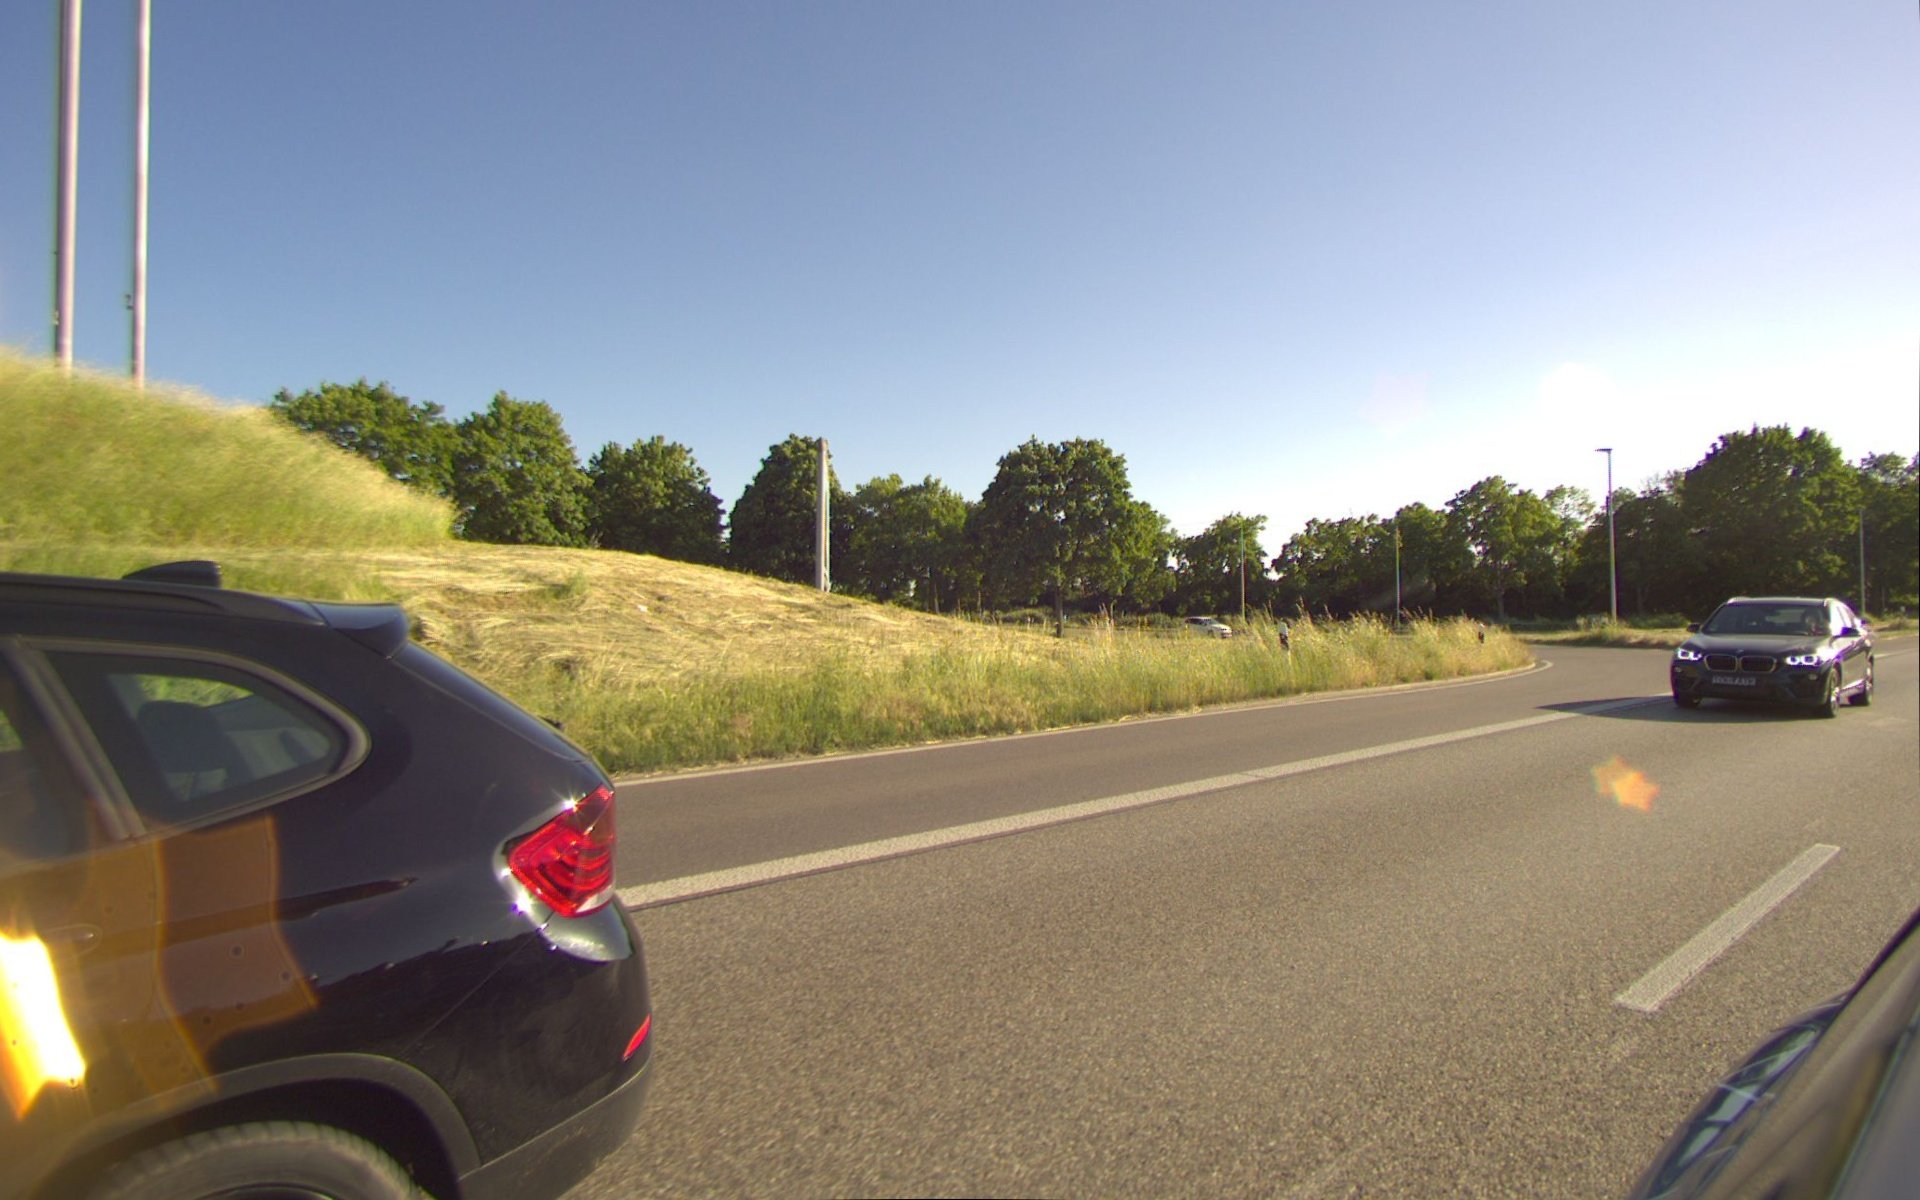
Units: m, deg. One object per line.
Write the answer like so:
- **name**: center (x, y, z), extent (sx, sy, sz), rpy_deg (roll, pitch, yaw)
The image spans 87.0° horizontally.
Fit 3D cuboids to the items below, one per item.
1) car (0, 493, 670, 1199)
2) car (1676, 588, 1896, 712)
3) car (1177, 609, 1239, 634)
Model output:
- **car**: center (-2.826, 0.626, 1.192), extent (4.498, 1.525, 1.702), rpy_deg (0, -1, -40)
- **car**: center (12.370, 0.629, 15.055), extent (4.440, 1.593, 1.758), rpy_deg (0, 0, -40)
- **car**: center (17.445, 1.485, 71.278), extent (1.835, 1.713, 3.996), rpy_deg (1, 0, -39)
